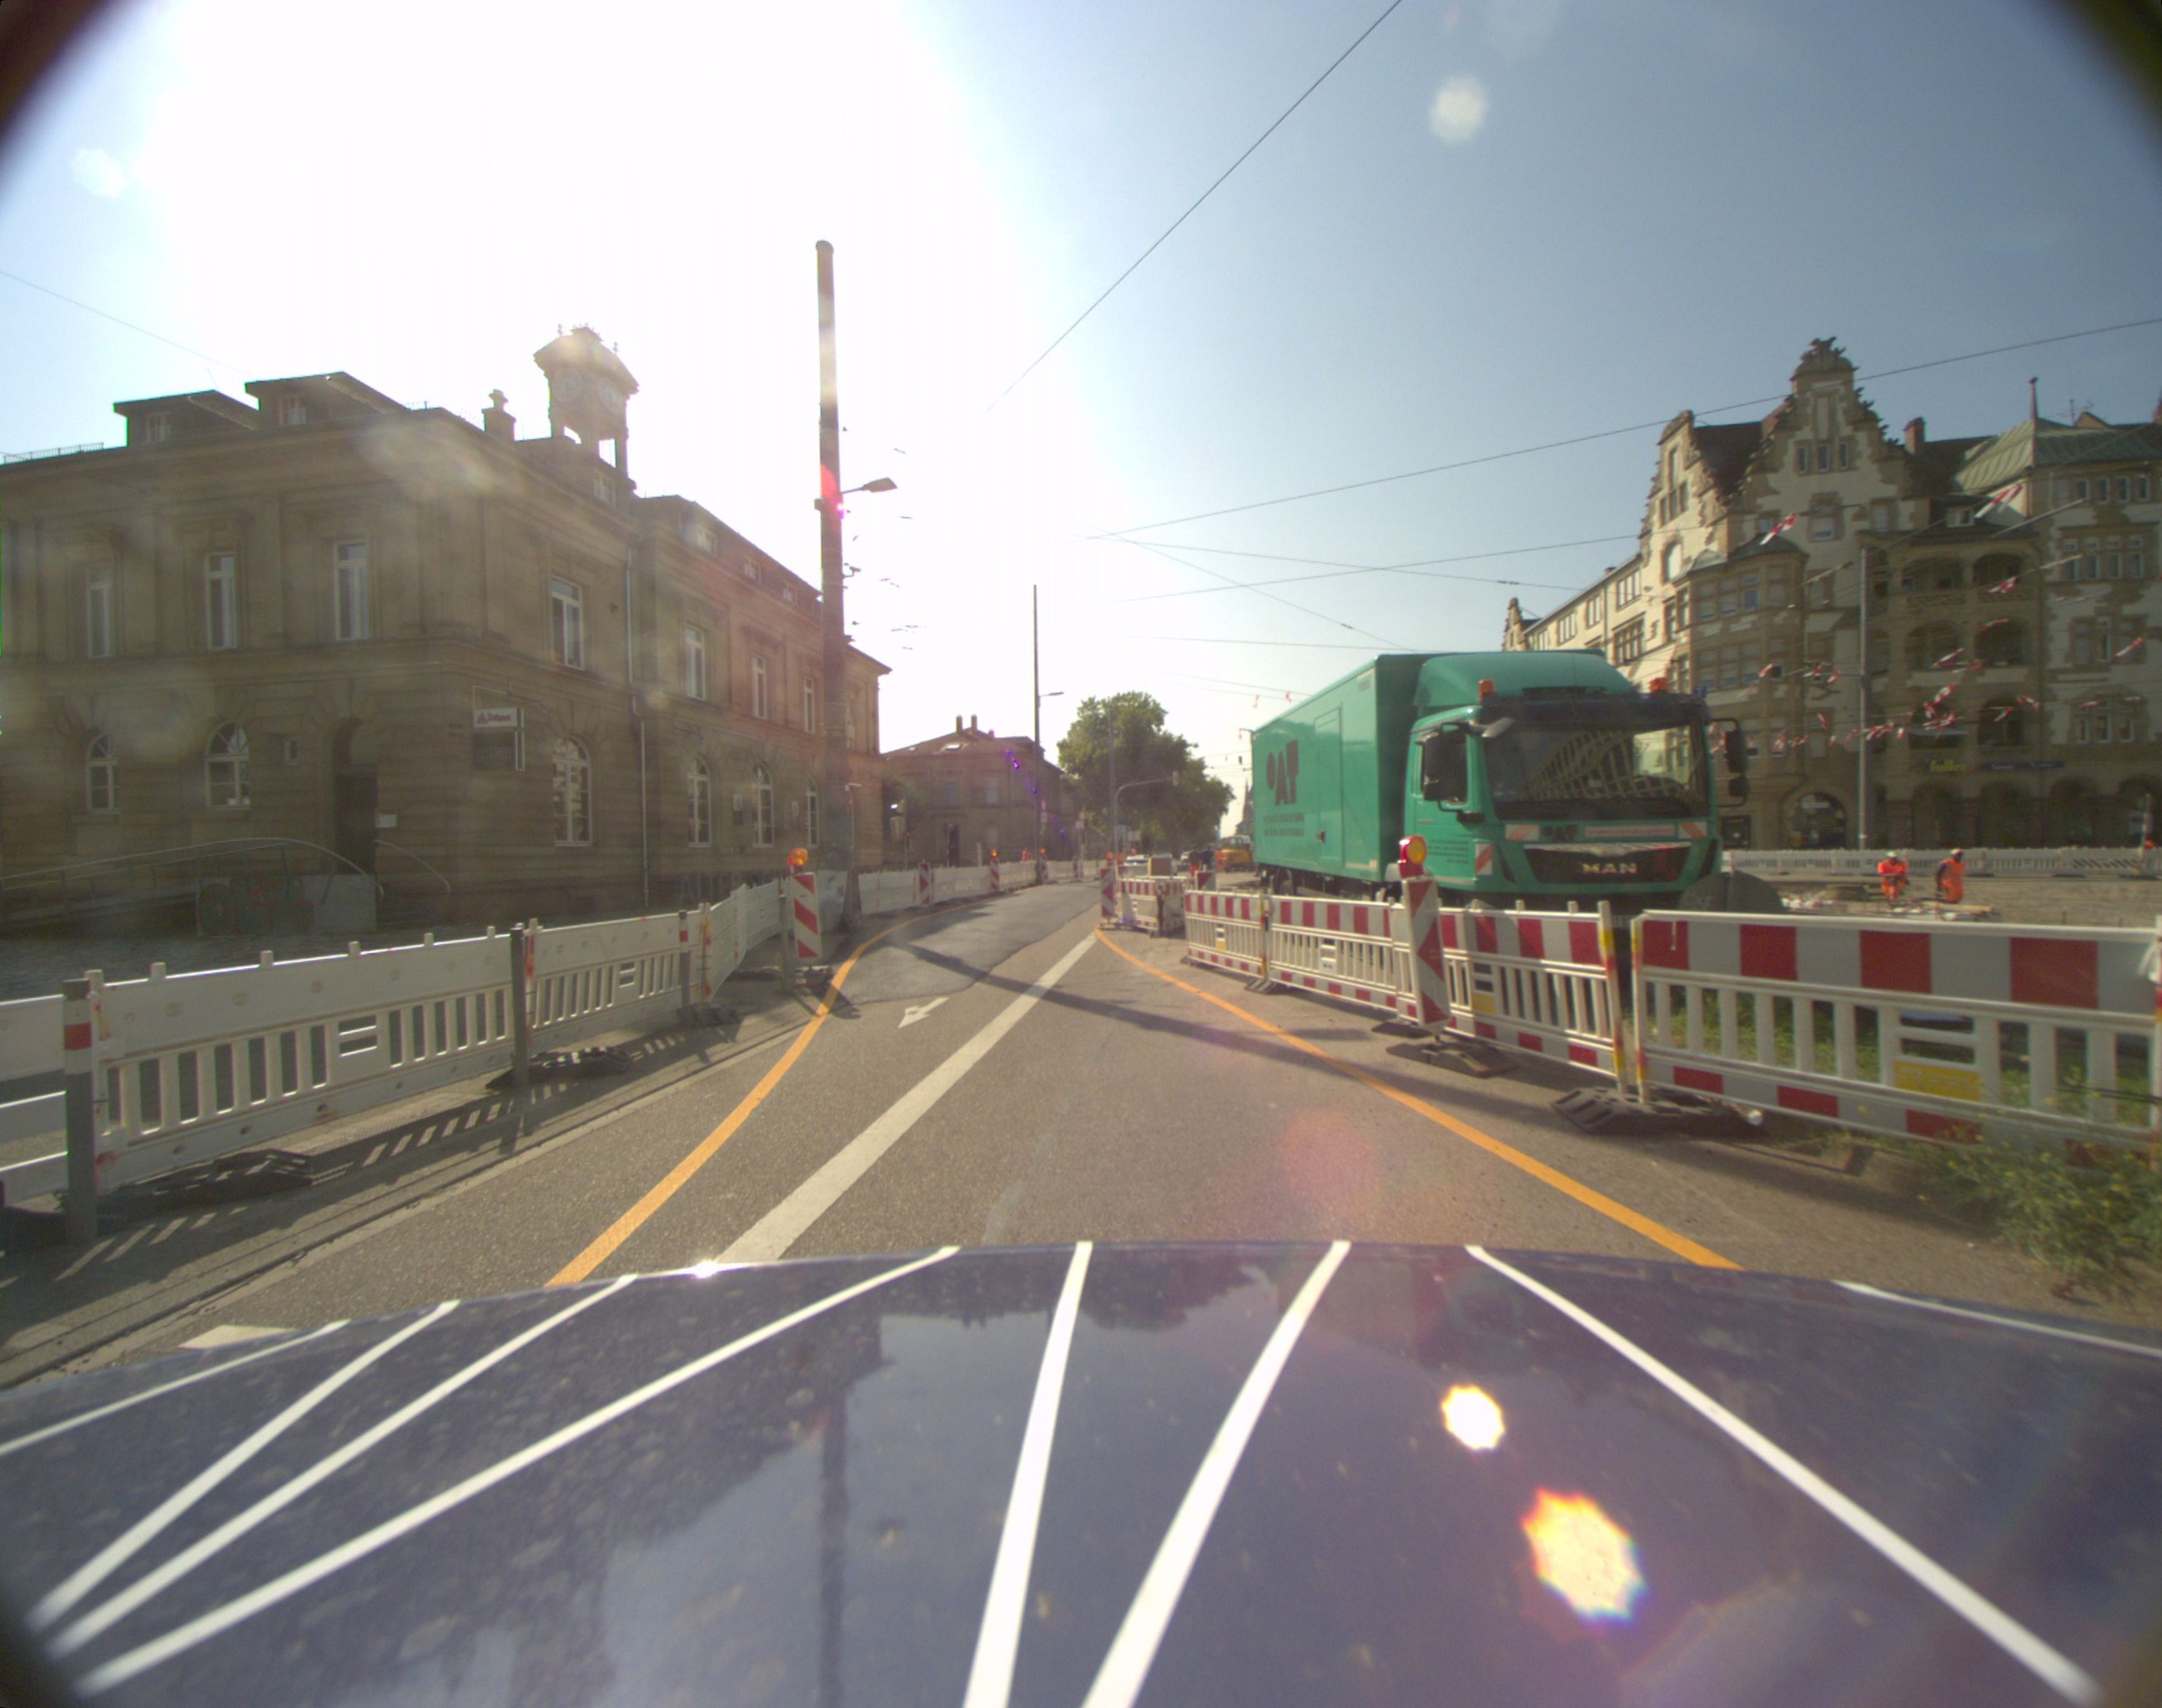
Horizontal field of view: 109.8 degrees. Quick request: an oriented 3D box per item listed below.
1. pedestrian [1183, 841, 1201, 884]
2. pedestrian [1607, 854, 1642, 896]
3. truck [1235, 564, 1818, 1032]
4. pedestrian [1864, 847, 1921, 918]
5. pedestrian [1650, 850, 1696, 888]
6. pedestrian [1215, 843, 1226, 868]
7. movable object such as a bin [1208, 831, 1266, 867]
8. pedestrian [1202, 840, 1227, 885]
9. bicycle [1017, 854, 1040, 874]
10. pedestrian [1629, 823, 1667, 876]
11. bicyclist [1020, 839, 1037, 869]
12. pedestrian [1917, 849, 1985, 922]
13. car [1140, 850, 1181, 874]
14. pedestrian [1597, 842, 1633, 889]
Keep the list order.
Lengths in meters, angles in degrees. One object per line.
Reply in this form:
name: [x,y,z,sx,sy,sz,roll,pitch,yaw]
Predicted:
pedestrian: [4.584,0.348,31.410,0.719,1.765,0.465,0,1,4]
pedestrian: [16.339,0.613,22.864,0.677,1.240,0.548,0,1,8]
truck: [4.499,-0.473,10.637,2.815,3.767,9.014,0,1,0]
pedestrian: [19.938,0.686,18.678,0.739,1.692,0.760,0,1,28]
pedestrian: [19.339,0.477,24.839,0.731,1.177,0.866,2,3,2]
pedestrian: [9.706,0.095,52.907,0.701,1.729,0.913,0,1,14]
movable object such as a bin: [11.105,-0.405,54.293,3.171,2.396,2.916,2,3,-6]
pedestrian: [5.420,0.333,30.931,0.920,1.830,0.802,0,1,3]
bicycle: [-2.819,0.543,41.002,0.742,1.026,2.133,0,1,10]
pedestrian: [18.264,-0.144,24.483,0.752,1.692,0.678,0,1,9]
bicyclist: [-2.824,0.004,40.960,0.736,1.616,0.853,0,1,10]
pedestrian: [20.675,0.727,18.073,0.740,1.692,0.759,0,1,8]
car: [4.894,0.446,46.469,1.996,1.387,4.004,0,1,13]
pedestrian: [17.916,0.364,25.492,0.754,1.548,0.735,-1,1,-33]
